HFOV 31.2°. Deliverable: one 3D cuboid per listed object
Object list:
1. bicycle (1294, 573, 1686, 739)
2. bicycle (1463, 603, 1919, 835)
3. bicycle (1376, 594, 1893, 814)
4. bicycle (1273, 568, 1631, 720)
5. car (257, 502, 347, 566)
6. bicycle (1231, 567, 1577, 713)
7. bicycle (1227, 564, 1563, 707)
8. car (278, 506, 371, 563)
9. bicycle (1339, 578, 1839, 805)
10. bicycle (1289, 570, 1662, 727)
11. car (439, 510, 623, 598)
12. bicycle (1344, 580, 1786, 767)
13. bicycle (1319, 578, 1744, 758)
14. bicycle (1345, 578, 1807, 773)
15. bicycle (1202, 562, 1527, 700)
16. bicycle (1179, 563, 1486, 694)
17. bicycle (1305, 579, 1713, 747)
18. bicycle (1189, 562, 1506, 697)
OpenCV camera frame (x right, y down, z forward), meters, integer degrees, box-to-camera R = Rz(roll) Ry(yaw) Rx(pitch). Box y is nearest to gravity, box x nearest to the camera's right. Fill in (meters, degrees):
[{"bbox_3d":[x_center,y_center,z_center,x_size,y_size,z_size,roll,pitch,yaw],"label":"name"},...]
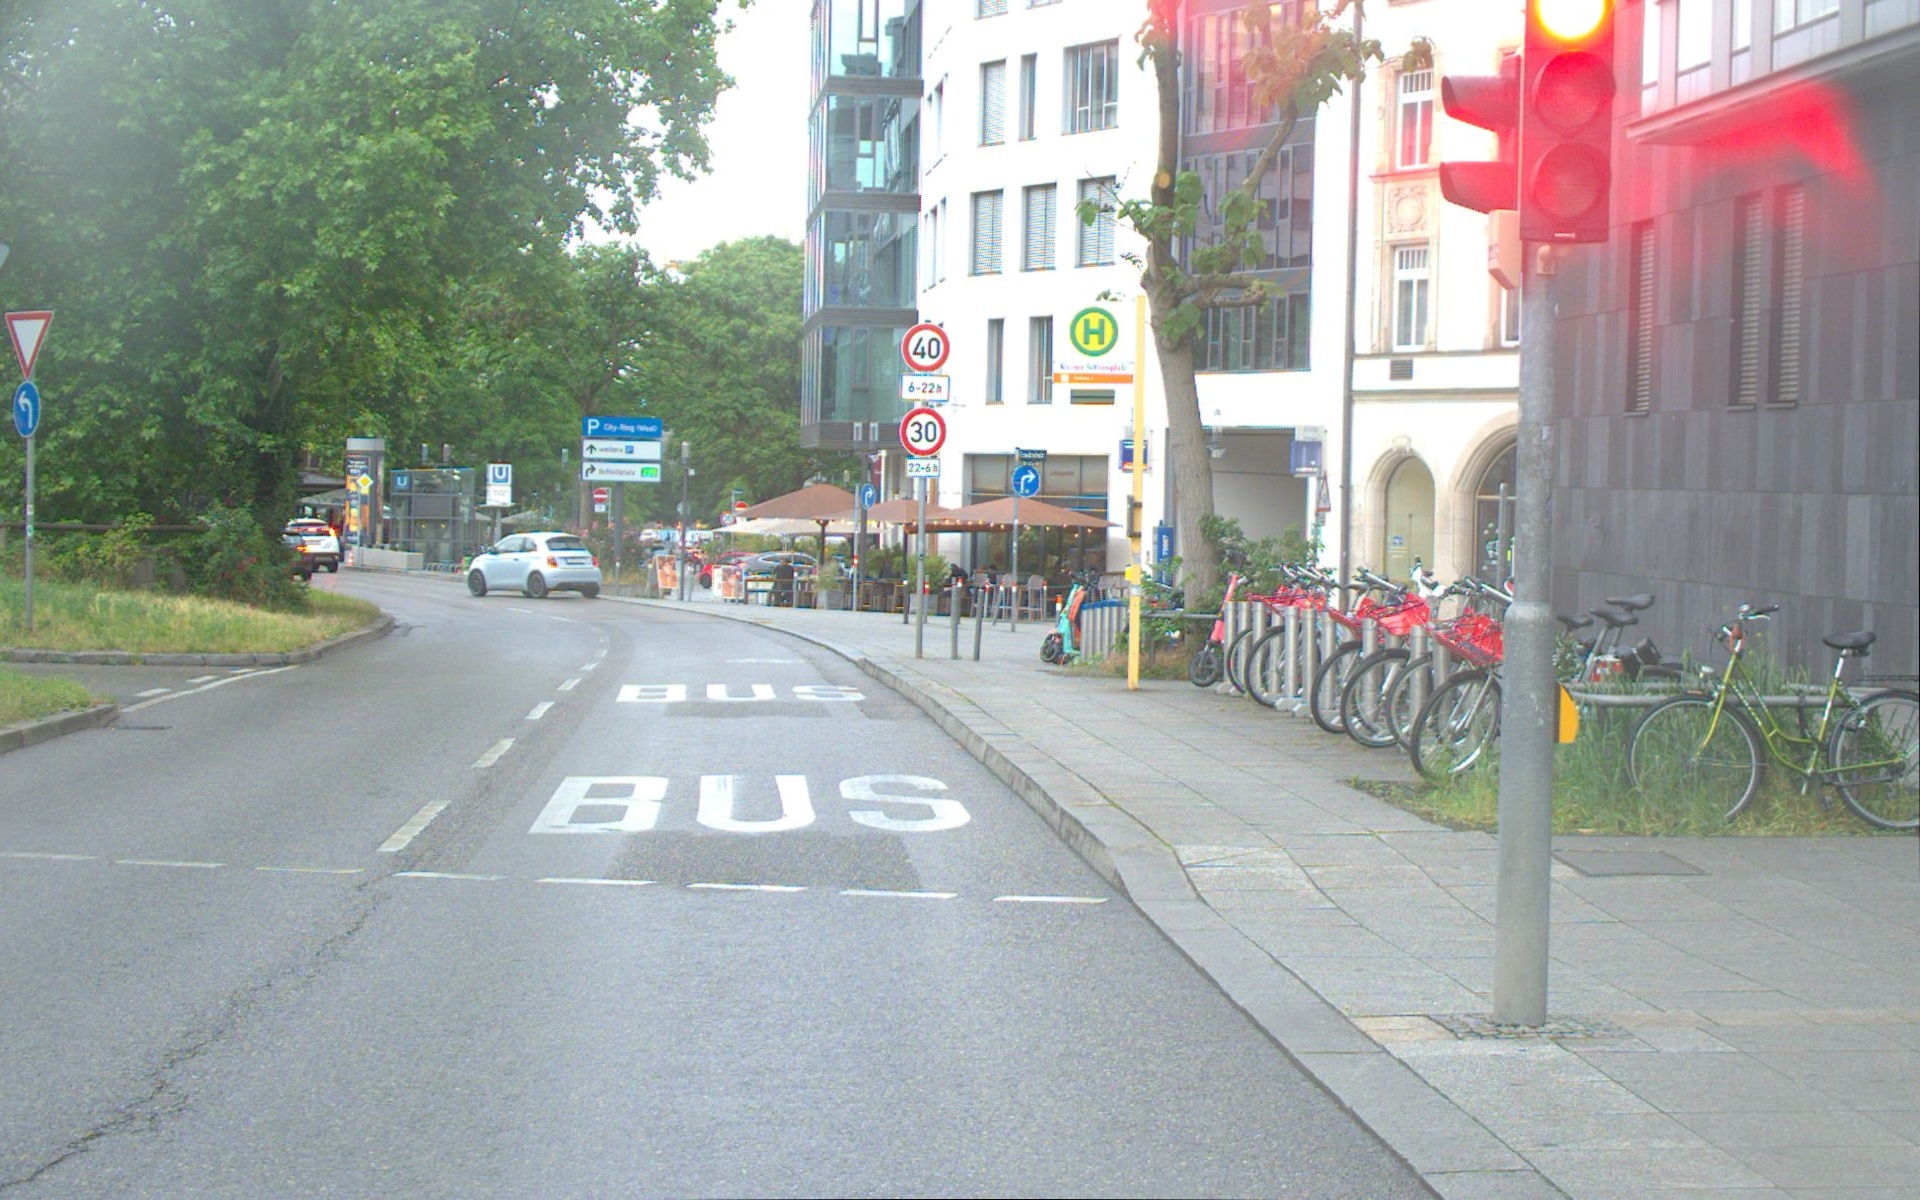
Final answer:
[{"bbox_3d":[3.595,0.377,23.403,2.535,1.083,0.677,1,1,-5],"label":"bicycle"},{"bbox_3d":[3.745,0.564,16.457,2.535,1.053,0.677,1,1,-5],"label":"bicycle"},{"bbox_3d":[3.499,0.535,17.934,2.535,1.083,0.677,1,1,-5],"label":"bicycle"},{"bbox_3d":[3.650,0.323,25.577,2.535,1.083,0.677,1,1,-5],"label":"bicycle"},{"bbox_3d":[-18.460,-1.876,96.359,2.161,1.700,4.555,1,1,-14],"label":"car"},{"bbox_3d":[3.400,0.303,26.417,2.535,1.083,0.677,1,1,-5],"label":"bicycle"},{"bbox_3d":[3.426,0.274,27.169,2.535,1.083,0.677,1,1,-5],"label":"bicycle"},{"bbox_3d":[-19.933,-2.071,107.723,2.178,1.695,4.001,1,1,-20],"label":"car"},{"bbox_3d":[3.413,0.491,18.737,2.535,1.083,0.677,3,1,-5],"label":"bicycle"},{"bbox_3d":[3.673,0.342,24.599,2.535,1.083,0.677,1,1,-5],"label":"bicycle"},{"bbox_3d":[-10.036,-1.090,80.286,3.998,1.641,1.995,6,1,42],"label":"car"},{"bbox_3d":[3.647,0.441,20.817,2.535,1.083,0.677,1,1,-5],"label":"bicycle"},{"bbox_3d":[3.581,0.421,21.628,2.535,1.083,0.677,1,1,-5],"label":"bicycle"},{"bbox_3d":[3.558,0.434,19.962,2.535,1.083,0.677,1,1,-5],"label":"bicycle"},{"bbox_3d":[3.291,0.245,28.057,2.535,1.083,0.677,1,1,-5],"label":"bicycle"},{"bbox_3d":[3.191,0.239,29.527,2.535,1.083,0.627,1,1,-5],"label":"bicycle"},{"bbox_3d":[3.576,0.408,22.494,2.535,1.056,0.677,1,1,-5],"label":"bicycle"},{"bbox_3d":[3.235,0.244,28.805,2.535,1.083,0.677,1,1,-5],"label":"bicycle"}]
